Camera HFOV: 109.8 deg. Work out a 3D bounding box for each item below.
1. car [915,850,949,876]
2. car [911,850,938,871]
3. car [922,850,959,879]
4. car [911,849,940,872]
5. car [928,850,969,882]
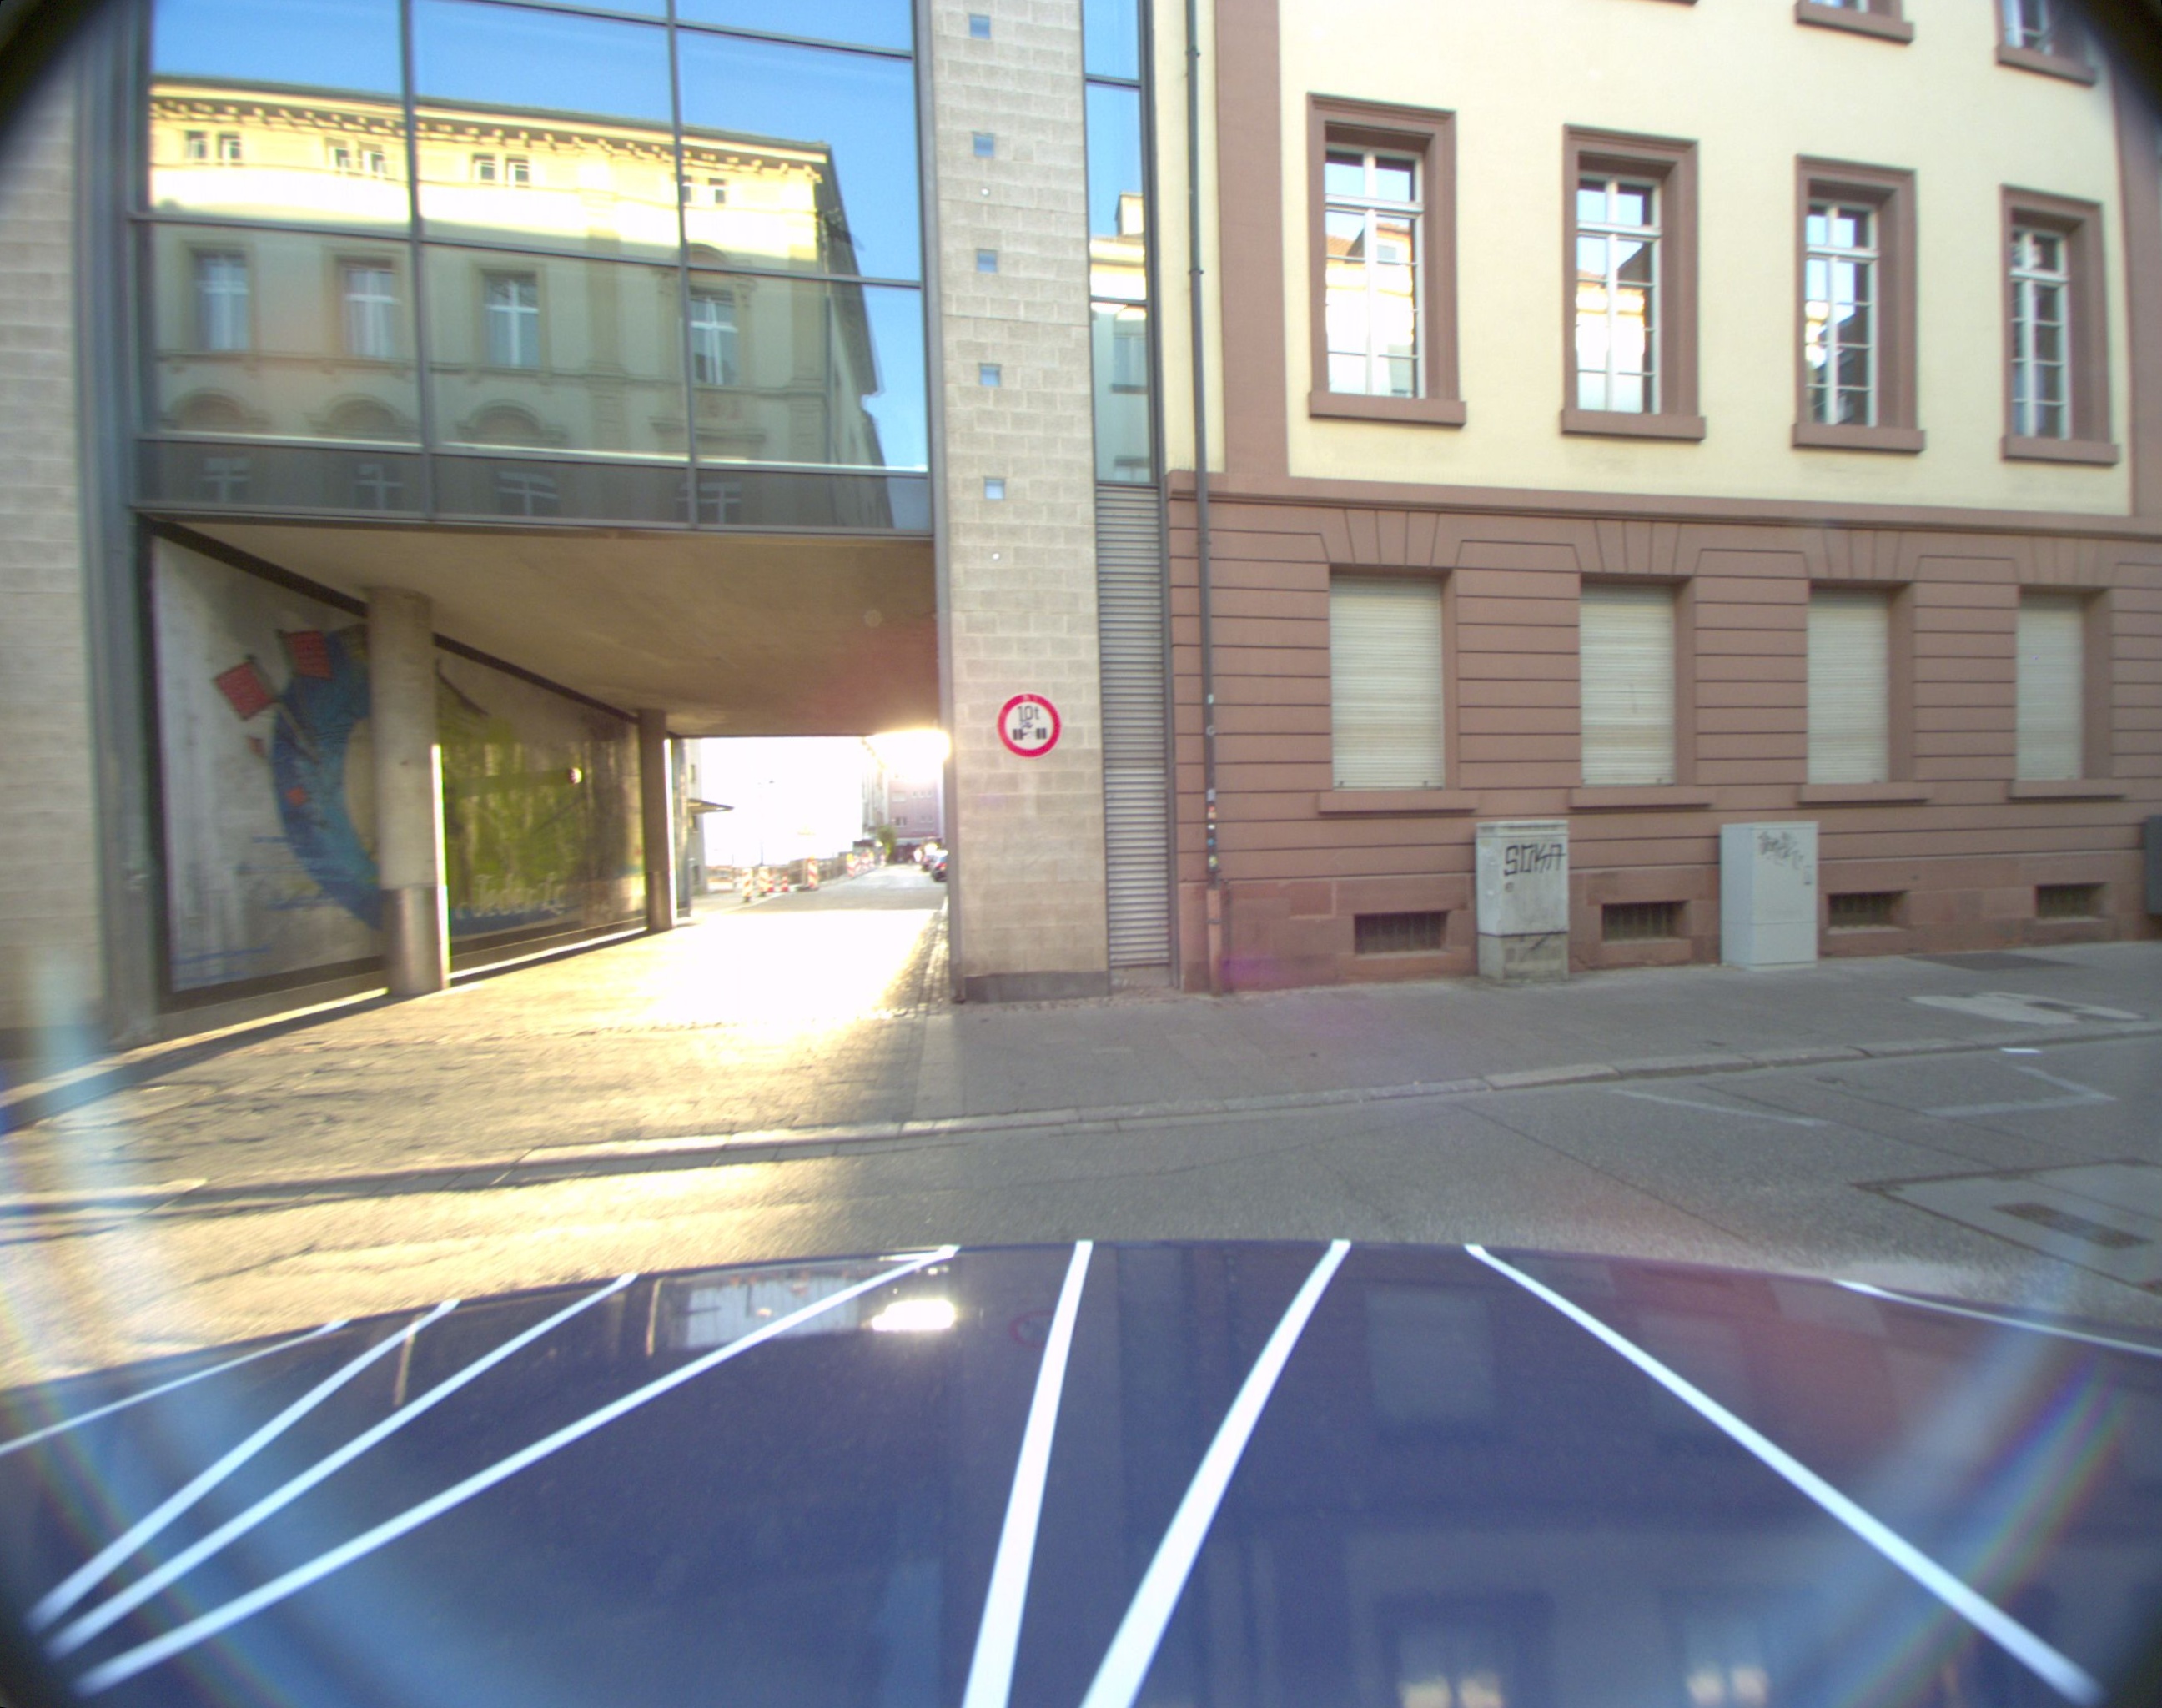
[{"bbox_3d":[-8.976,0.511,45.651,1.603,1.484,3.439,-2,1,-17],"label":"car"},{"bbox_3d":[-11.614,0.441,56.191,1.603,1.484,3.439,-2,1,-17],"label":"car"},{"bbox_3d":[-7.780,0.541,41.967,1.603,1.484,3.439,-2,1,-17],"label":"car"},{"bbox_3d":[-10.540,0.416,51.326,1.603,1.484,3.439,-2,1,-17],"label":"car"},{"bbox_3d":[-6.708,0.549,38.289,1.603,1.484,3.439,-2,1,-17],"label":"car"}]
